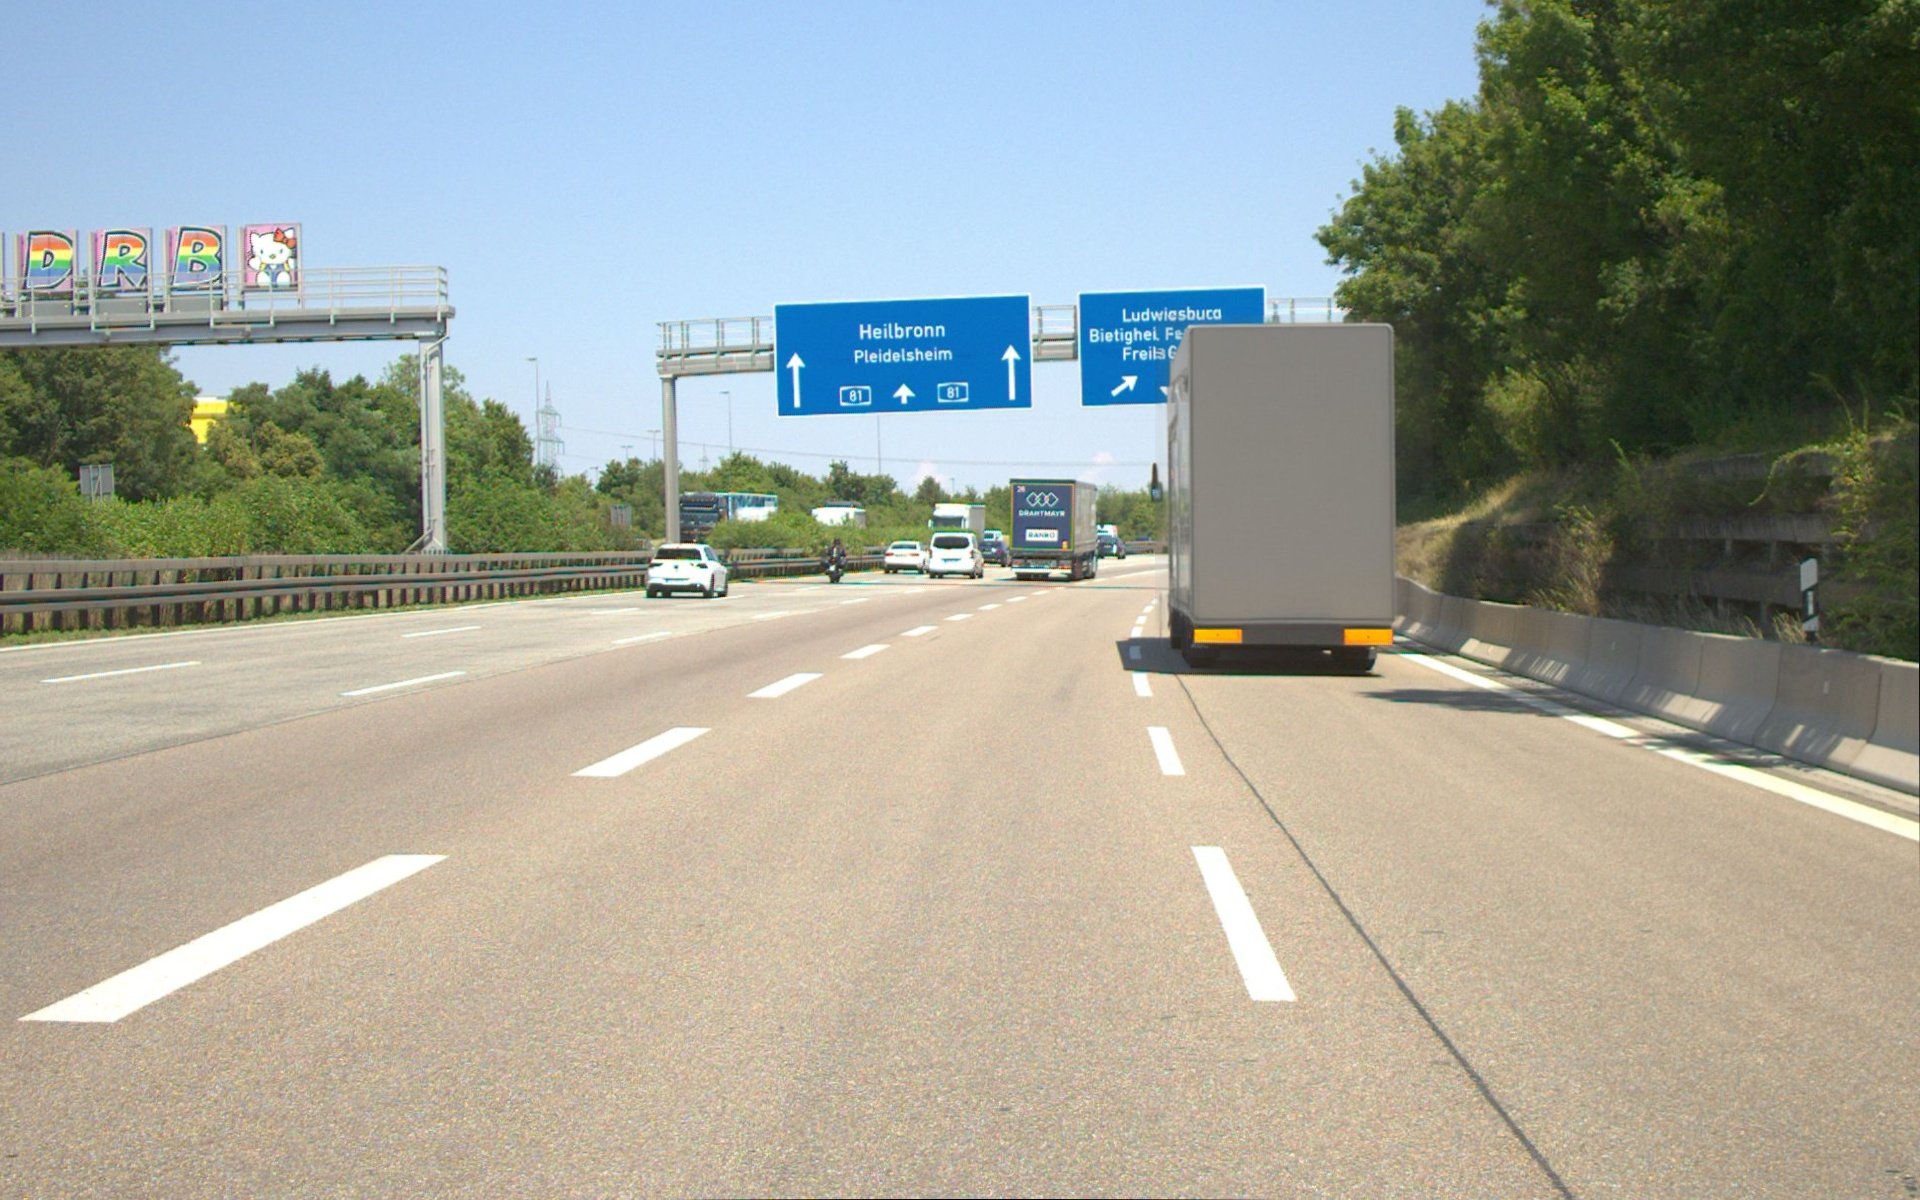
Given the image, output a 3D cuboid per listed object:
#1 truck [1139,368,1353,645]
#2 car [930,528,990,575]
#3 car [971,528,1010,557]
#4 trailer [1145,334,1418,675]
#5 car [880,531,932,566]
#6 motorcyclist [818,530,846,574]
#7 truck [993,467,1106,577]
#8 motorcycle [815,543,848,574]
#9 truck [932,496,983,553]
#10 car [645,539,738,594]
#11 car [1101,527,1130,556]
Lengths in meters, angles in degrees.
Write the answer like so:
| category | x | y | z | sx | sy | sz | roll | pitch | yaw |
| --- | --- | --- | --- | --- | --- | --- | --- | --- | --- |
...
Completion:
| category | x | y | z | sx | sy | sz | roll | pitch | yaw |
| --- | --- | --- | --- | --- | --- | --- | --- | --- | --- |
| truck | 4.361 | -1.472 | 53.789 | 2.928 | 4.001 | 7.583 | 0 | 2 | 2 |
| car | 0.012 | -1.994 | 140.919 | 1.931 | 1.845 | 4.691 | -1 | 1 | 6 |
| car | 1.696 | -3.121 | 188.086 | 1.757 | 1.404 | 5.038 | -1 | -1 | 5 |
| trailer | 4.134 | -1.306 | 46.700 | 2.928 | 4.001 | 12.039 | 0 | 2 | 2 |
| car | -2.420 | -2.313 | 154.969 | 1.877 | 1.435 | 5.125 | 0 | 0 | 4 |
| motorcyclist | -4.646 | -1.744 | 124.720 | 0.893 | 1.591 | 1.299 | 0 | 0 | 4 |
| truck | 3.807 | -3.214 | 141.783 | 3.748 | 4.255 | 14.493 | 1 | 1 | 5 |
| motorcycle | -4.648 | -1.489 | 124.691 | 0.913 | 1.085 | 2.849 | 0 | 0 | 3 |
| truck | -0.172 | -5.715 | 259.911 | 2.753 | 4.193 | 10.401 | 1 | 1 | 6 |
| car | -7.186 | -0.902 | 92.352 | 1.782 | 1.435 | 4.668 | 0 | 1 | 5 |
| car | 11.397 | -4.281 | 251.652 | 1.877 | 1.995 | 5.124 | 0 | 0 | 5 |
